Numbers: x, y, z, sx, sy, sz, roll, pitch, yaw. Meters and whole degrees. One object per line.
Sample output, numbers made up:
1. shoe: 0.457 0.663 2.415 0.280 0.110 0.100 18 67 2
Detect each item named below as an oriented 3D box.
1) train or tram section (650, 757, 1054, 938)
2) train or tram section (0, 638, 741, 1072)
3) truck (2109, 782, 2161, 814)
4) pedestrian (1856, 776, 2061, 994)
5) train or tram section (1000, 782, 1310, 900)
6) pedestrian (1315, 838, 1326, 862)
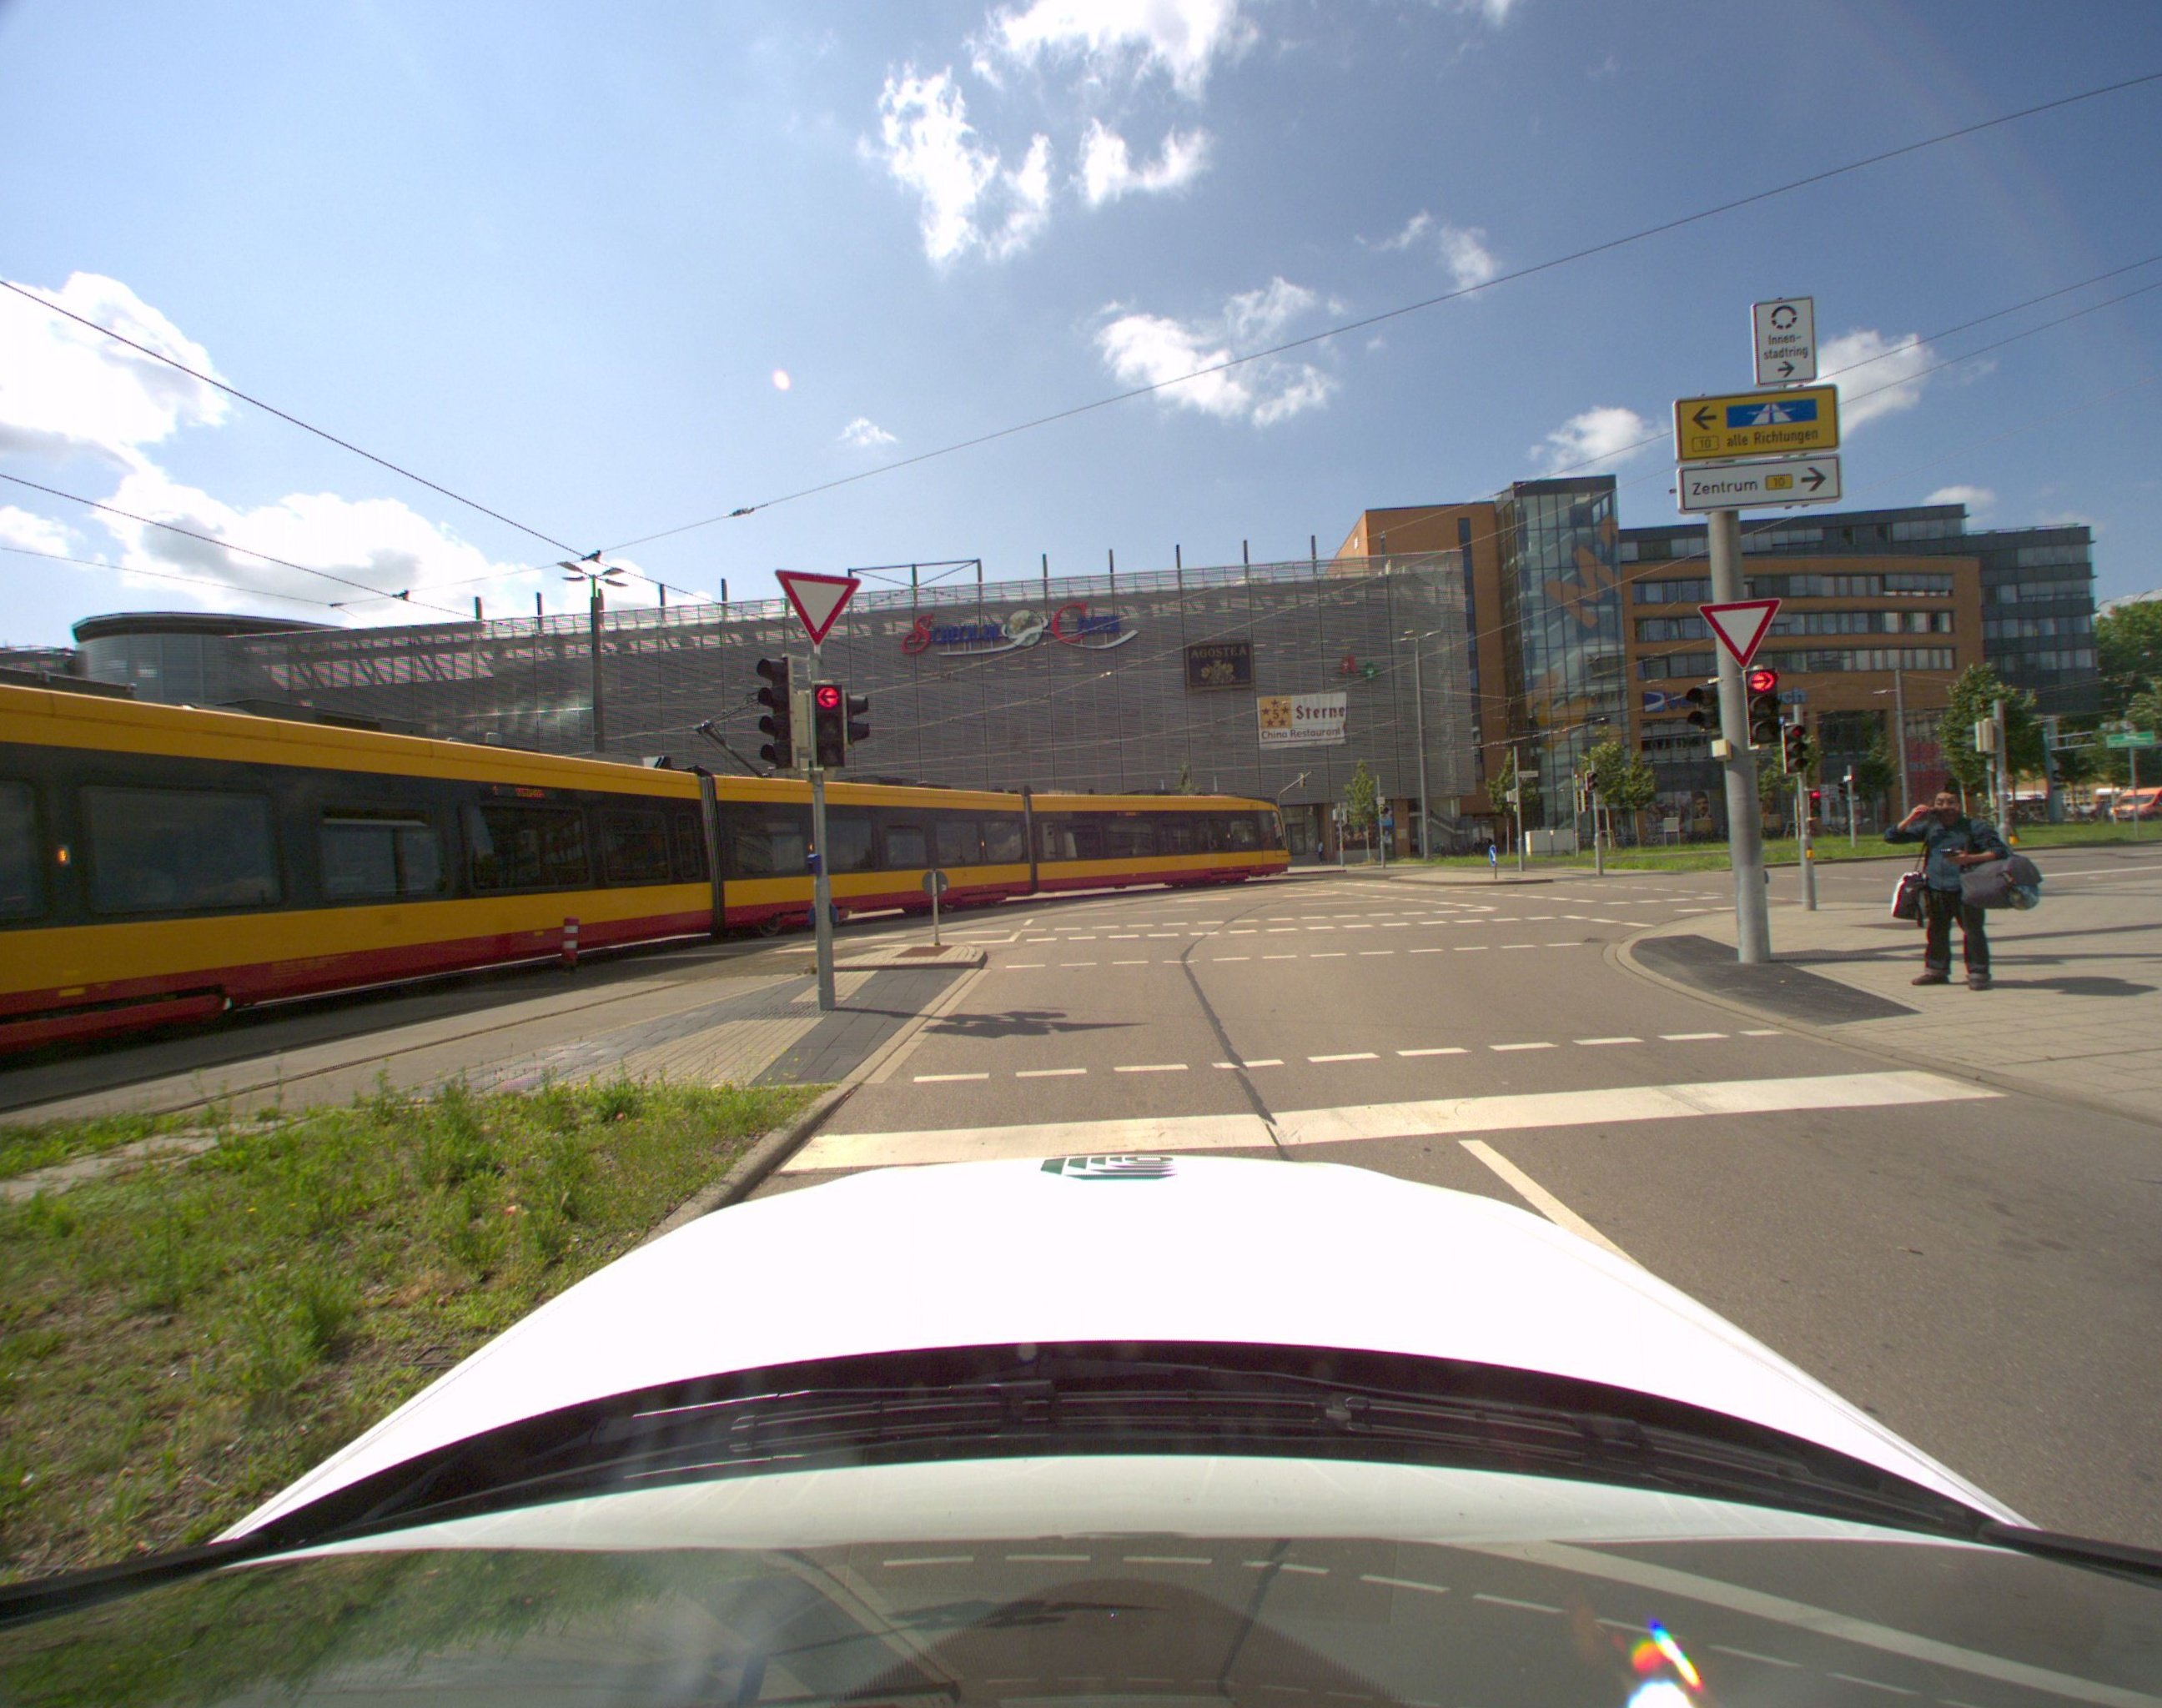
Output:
1. train or tram section: -5.133 -0.218 21.670 3.025 3.603 11.063 -2 0 32
2. train or tram section: -9.878 0.032 10.071 3.195 3.599 13.545 -3 0 12
3. truck: 74.720 -3.906 56.547 5.512 2.085 1.991 -2 0 -14
4. pedestrian: 7.504 0.239 6.993 0.810 1.702 0.911 -4 -1 -25
5. train or tram section: 3.243 -0.562 30.223 12.695 3.621 3.031 -2 0 -37
6. pedestrian: 17.785 -0.303 60.559 0.615 1.746 0.630 -2 0 3
